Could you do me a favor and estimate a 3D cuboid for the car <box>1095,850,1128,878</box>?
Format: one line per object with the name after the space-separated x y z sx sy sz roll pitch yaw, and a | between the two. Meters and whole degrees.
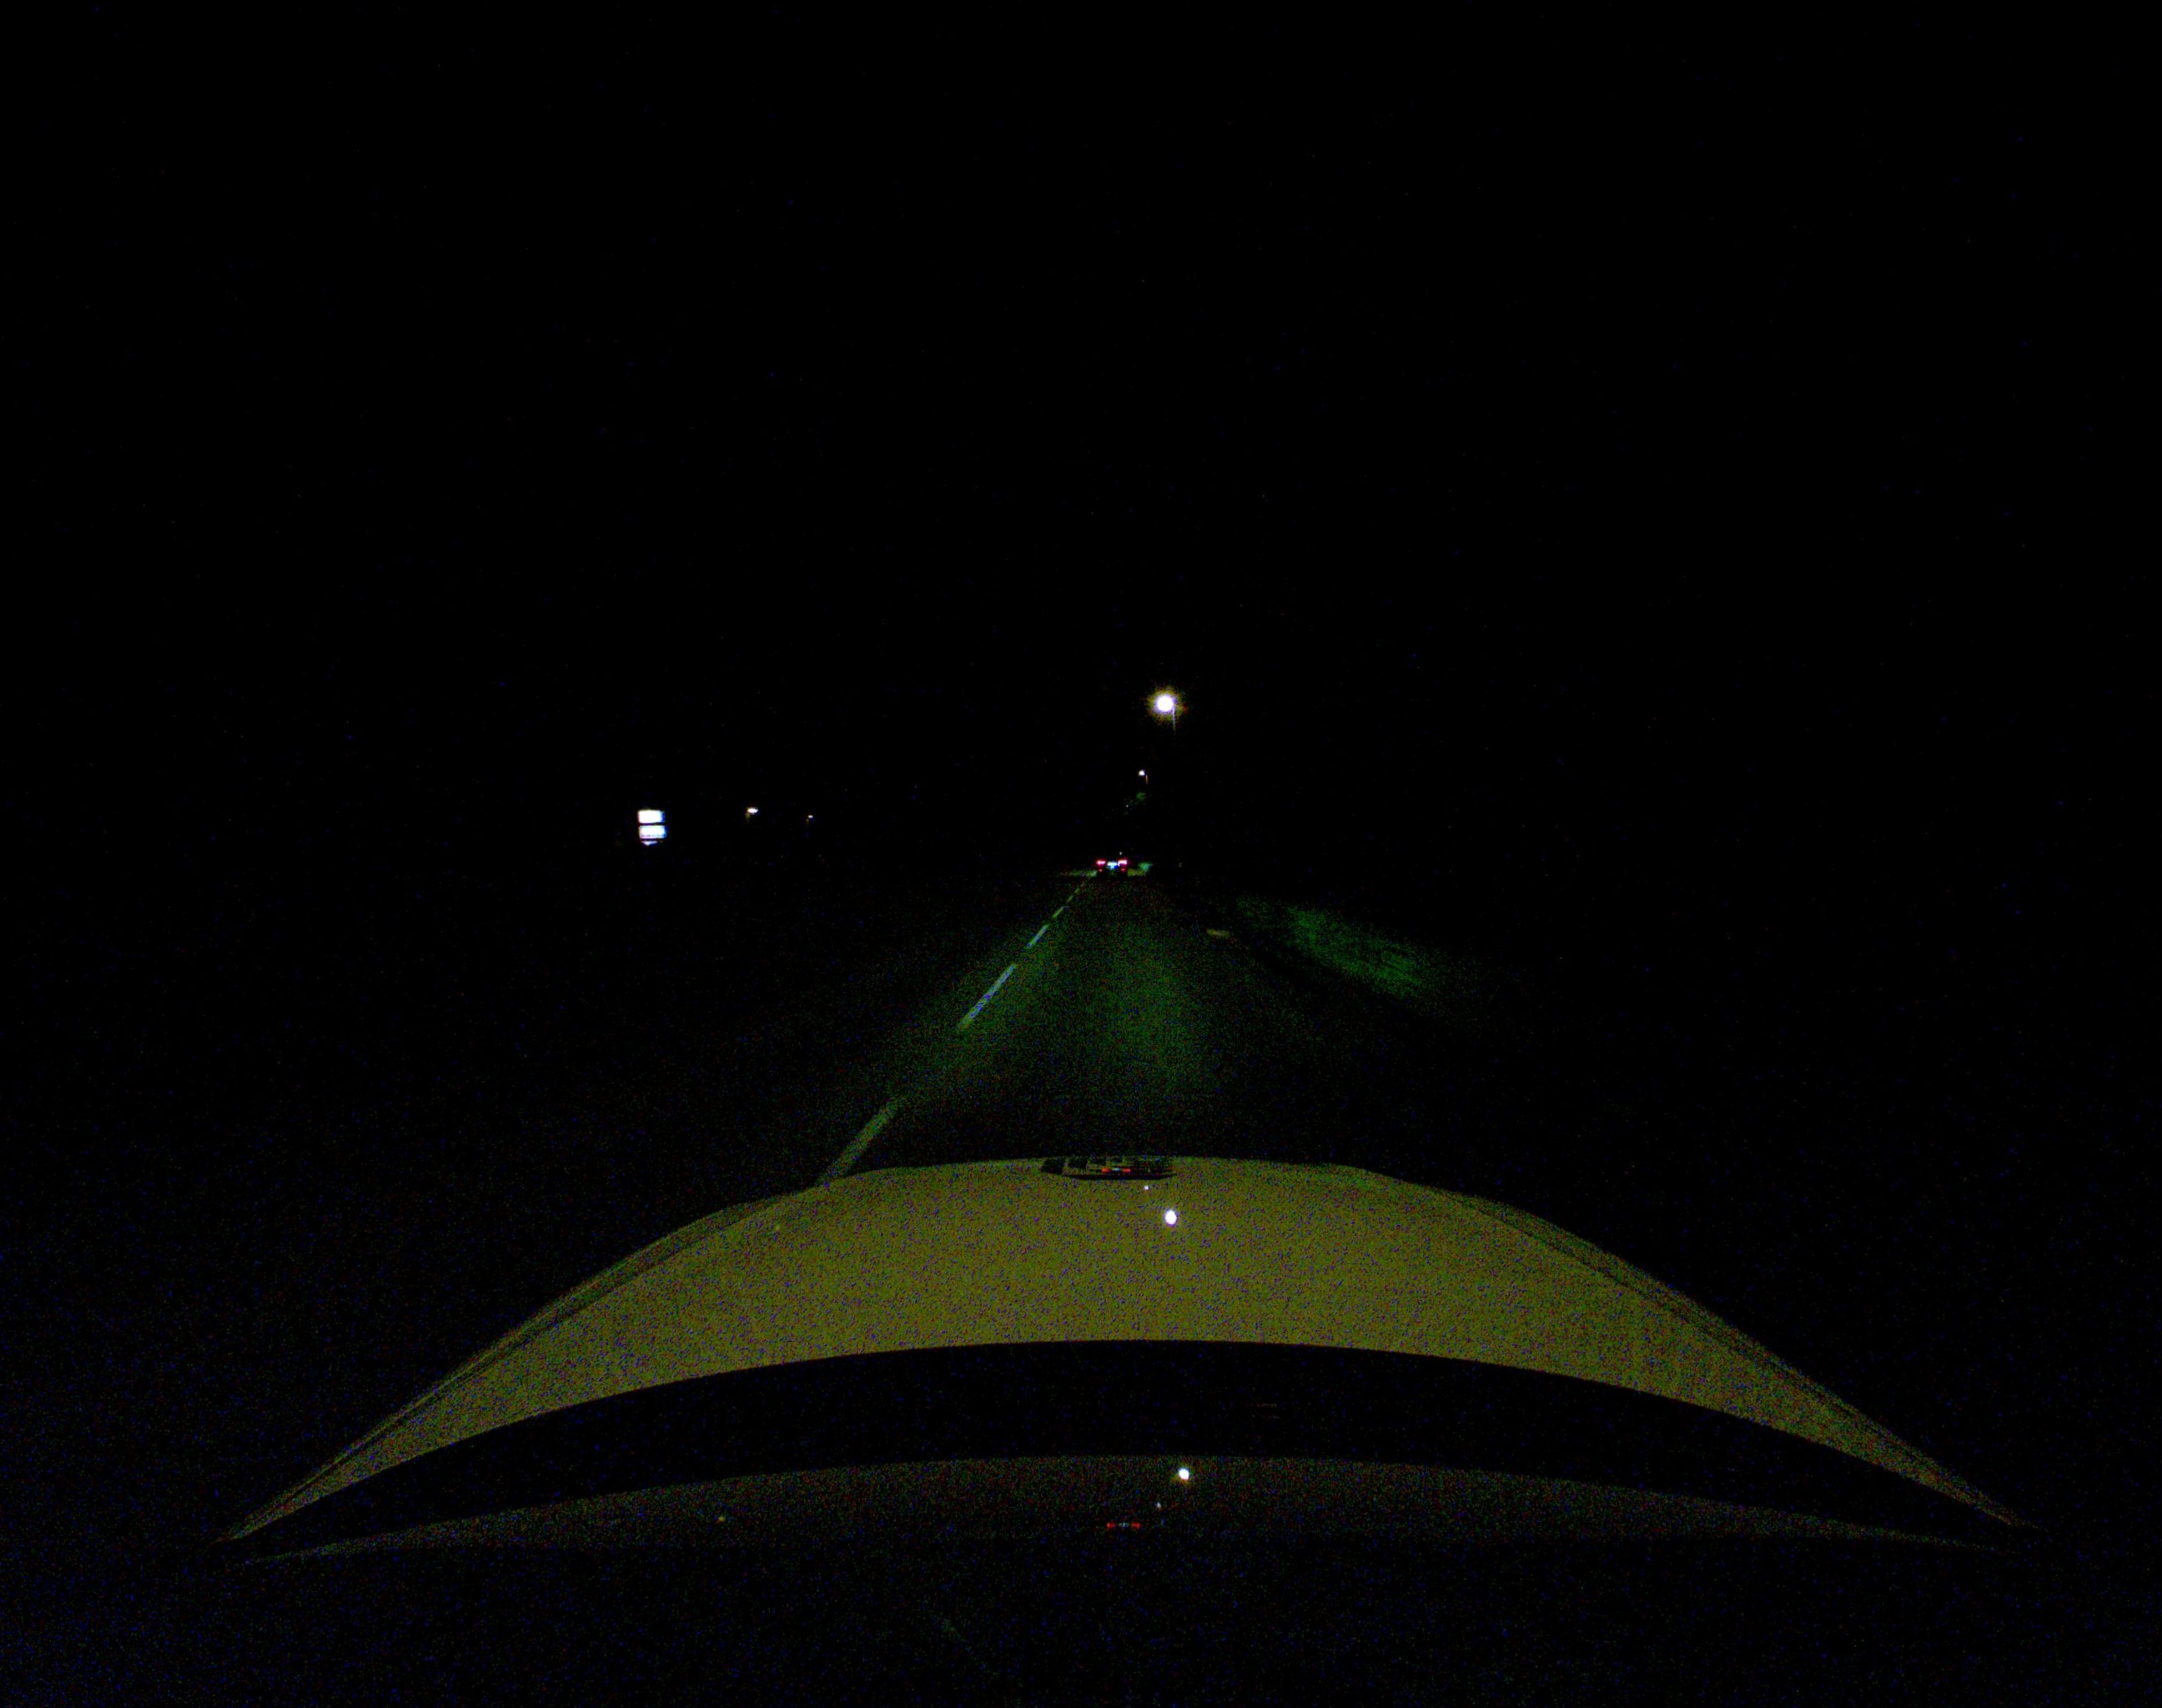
1.820 0.545 48.055 1.807 1.573 3.946 -1 0 3 | car
